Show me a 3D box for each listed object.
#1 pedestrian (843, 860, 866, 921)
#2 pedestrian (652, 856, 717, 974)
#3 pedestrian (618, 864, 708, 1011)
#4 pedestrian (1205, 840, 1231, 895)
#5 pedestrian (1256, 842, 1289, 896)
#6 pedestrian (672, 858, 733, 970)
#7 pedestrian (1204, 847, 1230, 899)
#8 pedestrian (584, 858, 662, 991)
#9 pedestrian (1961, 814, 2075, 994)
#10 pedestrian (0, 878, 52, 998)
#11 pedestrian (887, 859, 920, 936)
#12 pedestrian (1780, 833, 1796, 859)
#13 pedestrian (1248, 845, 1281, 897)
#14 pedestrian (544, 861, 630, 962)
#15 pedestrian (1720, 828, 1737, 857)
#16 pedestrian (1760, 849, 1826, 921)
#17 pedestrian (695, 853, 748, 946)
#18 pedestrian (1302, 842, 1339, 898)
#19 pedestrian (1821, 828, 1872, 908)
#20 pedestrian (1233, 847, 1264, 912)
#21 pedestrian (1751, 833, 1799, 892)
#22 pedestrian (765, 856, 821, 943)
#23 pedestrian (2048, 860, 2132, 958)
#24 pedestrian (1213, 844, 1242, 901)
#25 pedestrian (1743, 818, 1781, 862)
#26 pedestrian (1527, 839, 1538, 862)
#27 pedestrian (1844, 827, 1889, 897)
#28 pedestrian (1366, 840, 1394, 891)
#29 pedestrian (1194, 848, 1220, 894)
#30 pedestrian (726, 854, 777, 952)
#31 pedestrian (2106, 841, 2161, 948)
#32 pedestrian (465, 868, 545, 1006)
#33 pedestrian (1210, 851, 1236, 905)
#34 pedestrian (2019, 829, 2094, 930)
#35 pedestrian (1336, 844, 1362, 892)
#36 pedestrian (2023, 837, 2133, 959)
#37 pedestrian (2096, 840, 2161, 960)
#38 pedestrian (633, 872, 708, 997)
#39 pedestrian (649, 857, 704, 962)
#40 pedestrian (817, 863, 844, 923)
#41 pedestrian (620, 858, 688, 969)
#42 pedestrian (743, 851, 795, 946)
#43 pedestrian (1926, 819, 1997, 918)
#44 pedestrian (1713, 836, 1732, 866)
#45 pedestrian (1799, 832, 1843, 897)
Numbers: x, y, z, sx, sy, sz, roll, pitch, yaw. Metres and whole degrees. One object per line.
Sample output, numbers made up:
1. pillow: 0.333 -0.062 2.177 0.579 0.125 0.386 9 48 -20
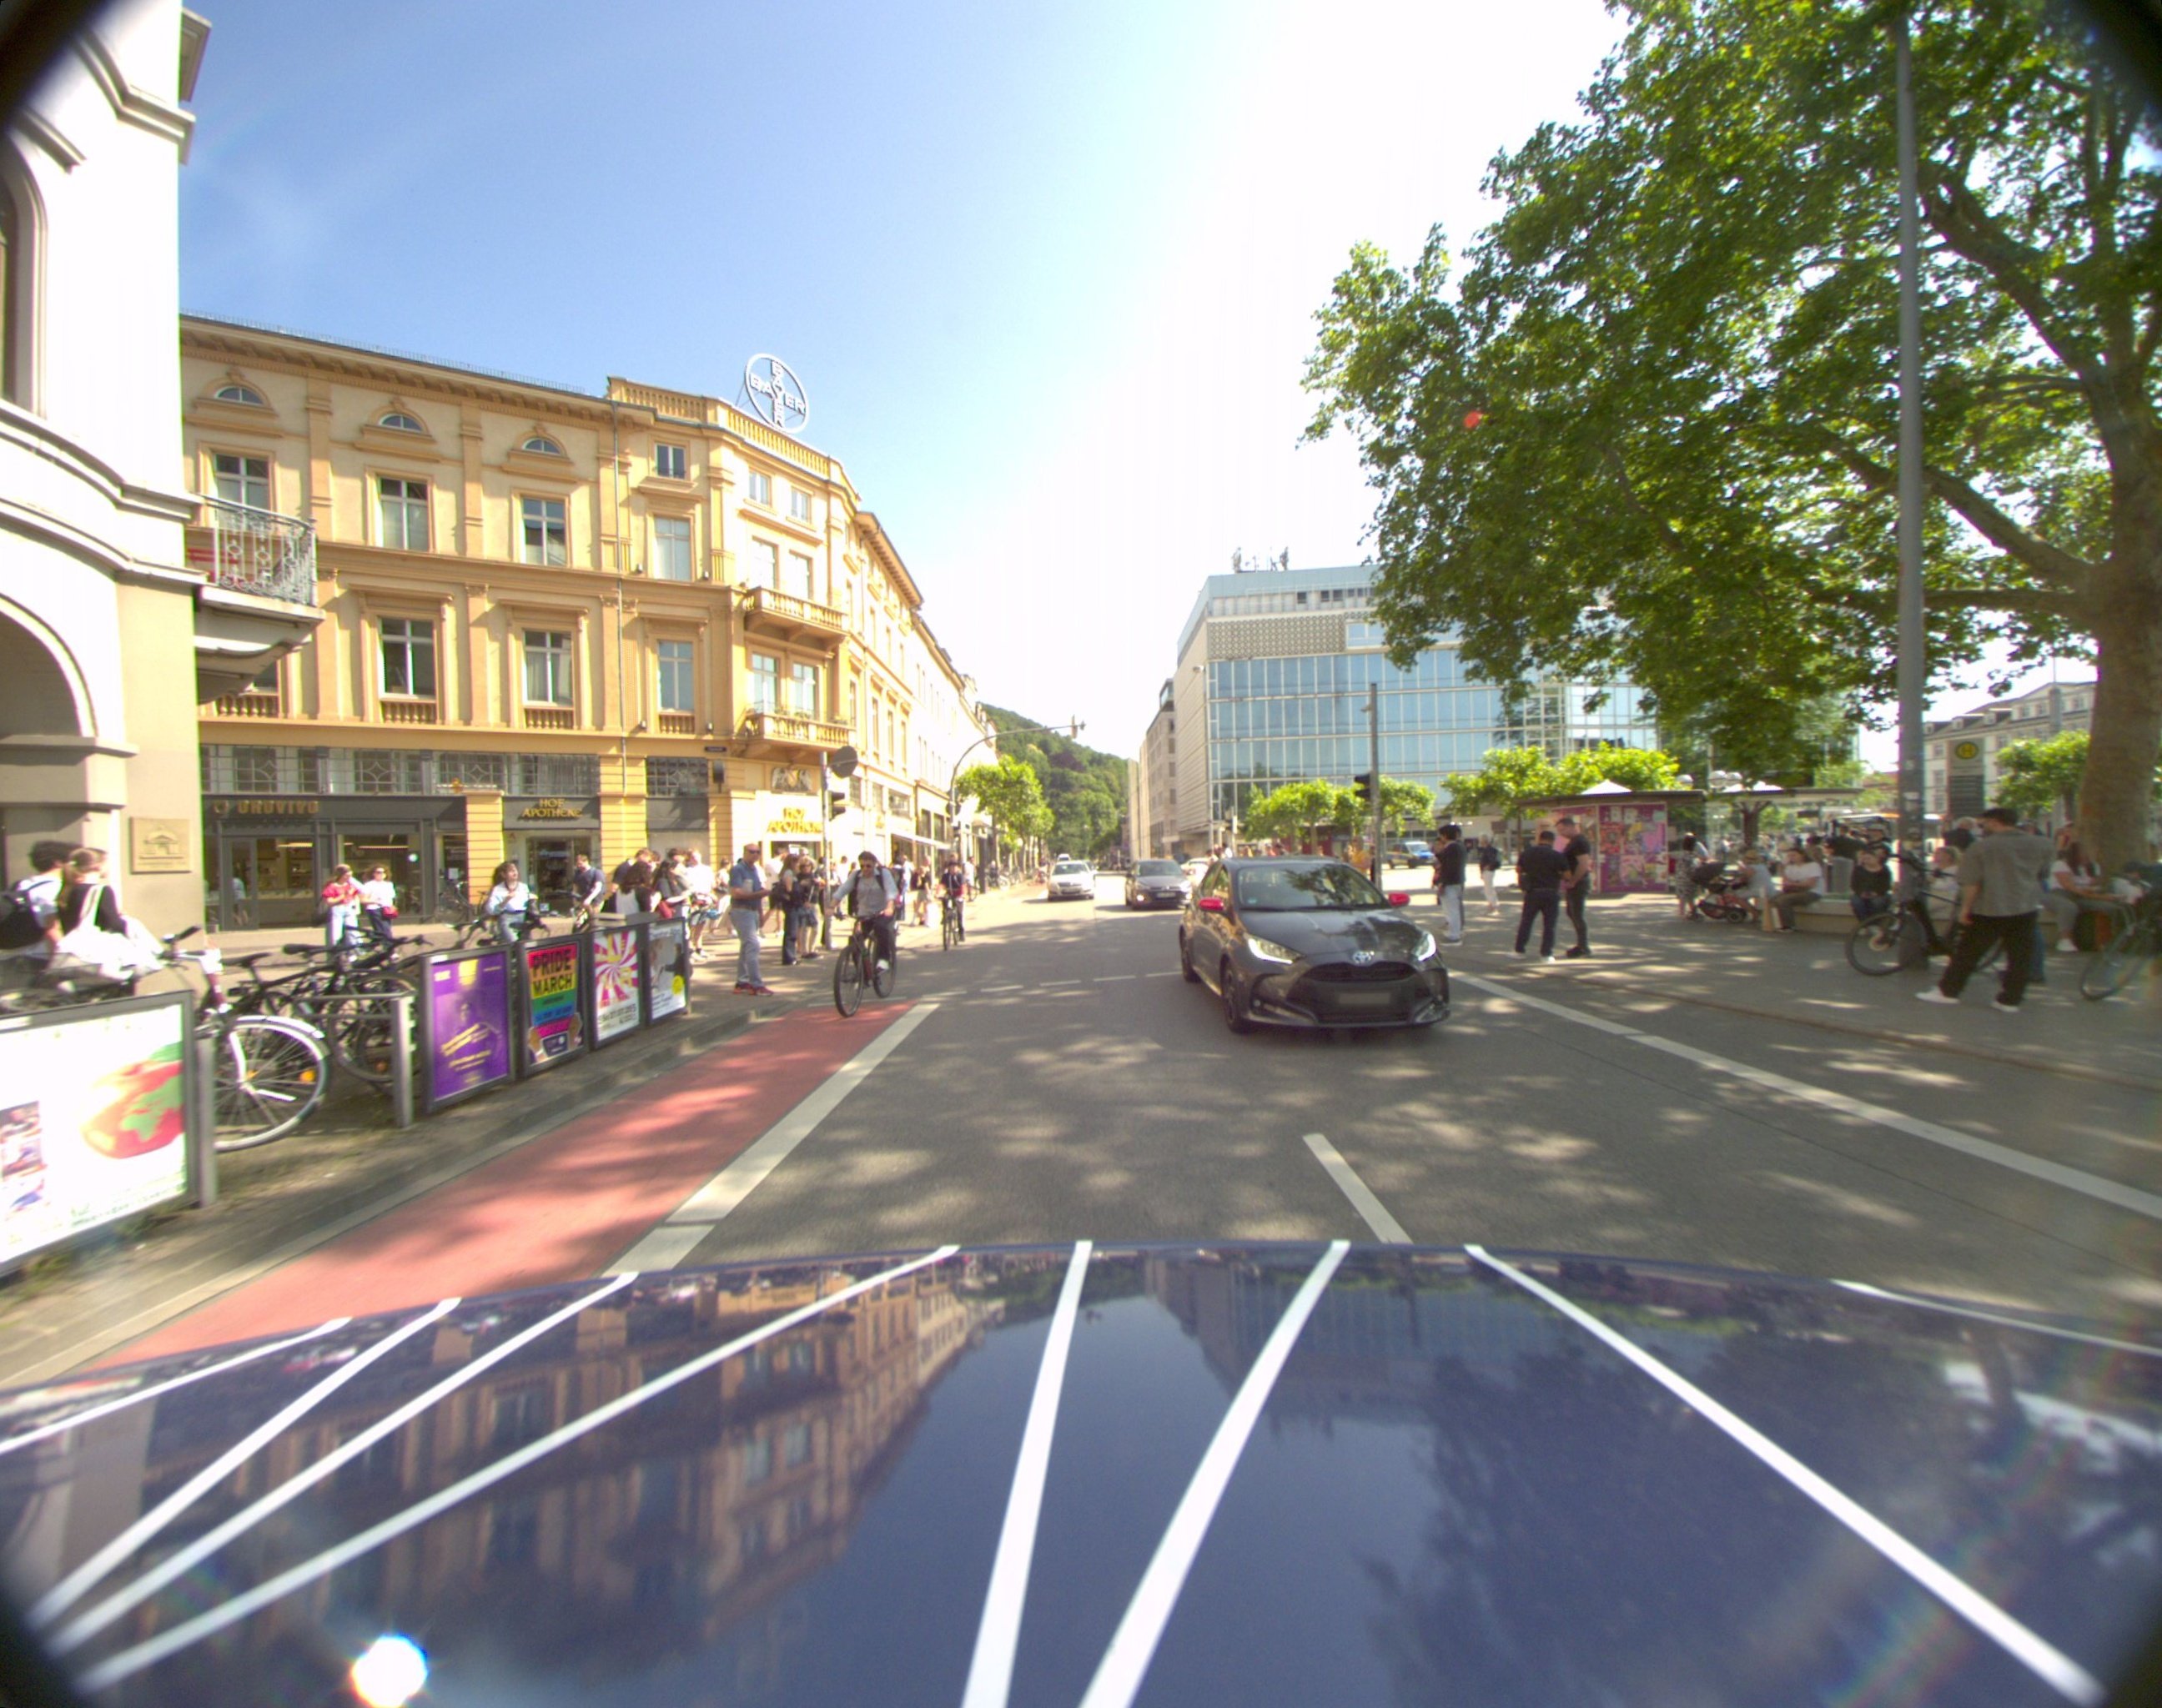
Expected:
1. pedestrian: -6.369 1.023 21.420 0.444 1.679 0.478 -2 1 0
2. pedestrian: -6.044 0.908 11.613 0.578 1.714 0.622 -3 1 -4
3. pedestrian: -5.067 0.983 9.257 0.578 1.675 0.775 -3 1 -4
4. pedestrian: 4.856 0.477 27.015 0.639 1.909 0.860 -3 1 -2
5. pedestrian: 6.413 0.490 25.518 0.751 1.737 0.732 -4 1 -10
6. pedestrian: -6.080 0.941 12.242 0.578 1.729 0.622 -3 1 -4
7. pedestrian: 4.691 0.631 26.209 0.639 1.737 0.733 -3 1 -2
8. pedestrian: -6.090 0.911 10.132 0.578 1.675 0.622 -3 1 -4
9. pedestrian: 9.488 0.490 7.706 0.516 1.732 0.518 -4 1 -14
10. pedestrian: -17.076 1.325 12.029 0.578 1.835 0.622 -3 1 0
11. pedestrian: -4.115 0.981 17.627 0.606 1.726 0.647 -1 1 -23
12. pedestrian: 42.202 -0.480 45.378 0.554 1.464 0.759 -3 1 36
13. pedestrian: 6.450 0.593 26.755 0.876 1.737 0.733 -3 1 -2
14. pedestrian: -9.165 1.040 14.137 0.621 1.748 1.187 -3 1 7
15. pedestrian: 33.396 -0.605 39.169 0.464 1.464 0.410 -3 1 -3
16. pedestrian: 12.830 0.550 13.691 0.672 1.234 0.614 -4 1 -23
17. pedestrian: -7.317 0.907 15.496 0.665 1.835 0.622 -3 1 0
18. pedestrian: 7.691 0.514 24.423 0.722 1.737 0.884 -4 1 -10
19. pedestrian: 16.904 0.307 16.792 0.554 1.717 0.492 -3 1 7
20. pedestrian: 4.565 0.688 20.723 0.575 1.704 0.652 -3 1 -2
21. pedestrian: 18.490 0.229 20.245 0.753 1.498 0.781 -4 1 -38
22. pedestrian: -6.381 0.993 16.845 0.621 1.835 0.856 -3 1 38
23. pedestrian: 12.424 0.672 9.365 0.506 1.166 0.349 -3 1 33
24. pedestrian: 4.541 0.564 23.630 0.639 1.737 0.733 -3 1 -2
25. pedestrian: 27.931 -0.568 31.172 0.752 1.737 0.782 -4 1 -11
26. pedestrian: 29.929 -0.221 50.369 0.464 1.464 0.401 -4 1 -17
27. pedestrian: 17.536 0.186 16.970 0.491 1.517 0.456 -3 1 7
28. pedestrian: 10.565 0.411 26.875 0.732 1.737 0.640 -3 1 13
29. pedestrian: 4.889 0.644 29.475 0.731 1.737 0.640 -3 1 24
30. pedestrian: -6.288 0.919 14.509 0.578 1.792 0.696 -3 1 -4
31. pedestrian: 17.100 0.642 12.250 0.503 1.659 0.471 -4 1 -11
32. pedestrian: -7.007 0.985 9.250 0.517 1.574 0.584 -3 1 39
33. pedestrian: 4.773 0.791 25.527 0.639 1.737 0.605 -3 1 -2
34. pedestrian: 16.381 0.417 12.771 0.529 1.635 0.555 -4 1 -11
35. pedestrian: 9.623 0.491 27.273 0.732 1.660 0.640 -3 1 13
36. pedestrian: 12.507 0.532 9.558 0.579 1.452 0.787 -3 1 33
37. pedestrian: 16.151 0.671 11.443 0.668 1.737 0.782 -4 1 -11
38. pedestrian: -5.475 1.052 10.174 0.578 1.574 0.622 -3 1 -4
39. pedestrian: -7.310 0.988 13.734 0.623 1.806 0.631 -4 1 -44
40. pedestrian: -6.739 1.043 20.452 0.513 1.594 0.534 -1 1 0
41. pedestrian: -7.260 0.988 12.934 0.650 1.793 0.699 -3 1 -2
42. pedestrian: -6.344 0.886 15.479 0.686 1.847 0.622 -3 1 -4
43. pedestrian: 16.004 0.252 13.822 0.537 1.737 0.613 -4 1 -11
44. pedestrian: 30.538 -0.146 36.184 0.464 1.375 0.437 -3 1 -2
45. pedestrian: 17.096 0.235 17.559 0.455 1.464 0.555 -3 1 8
